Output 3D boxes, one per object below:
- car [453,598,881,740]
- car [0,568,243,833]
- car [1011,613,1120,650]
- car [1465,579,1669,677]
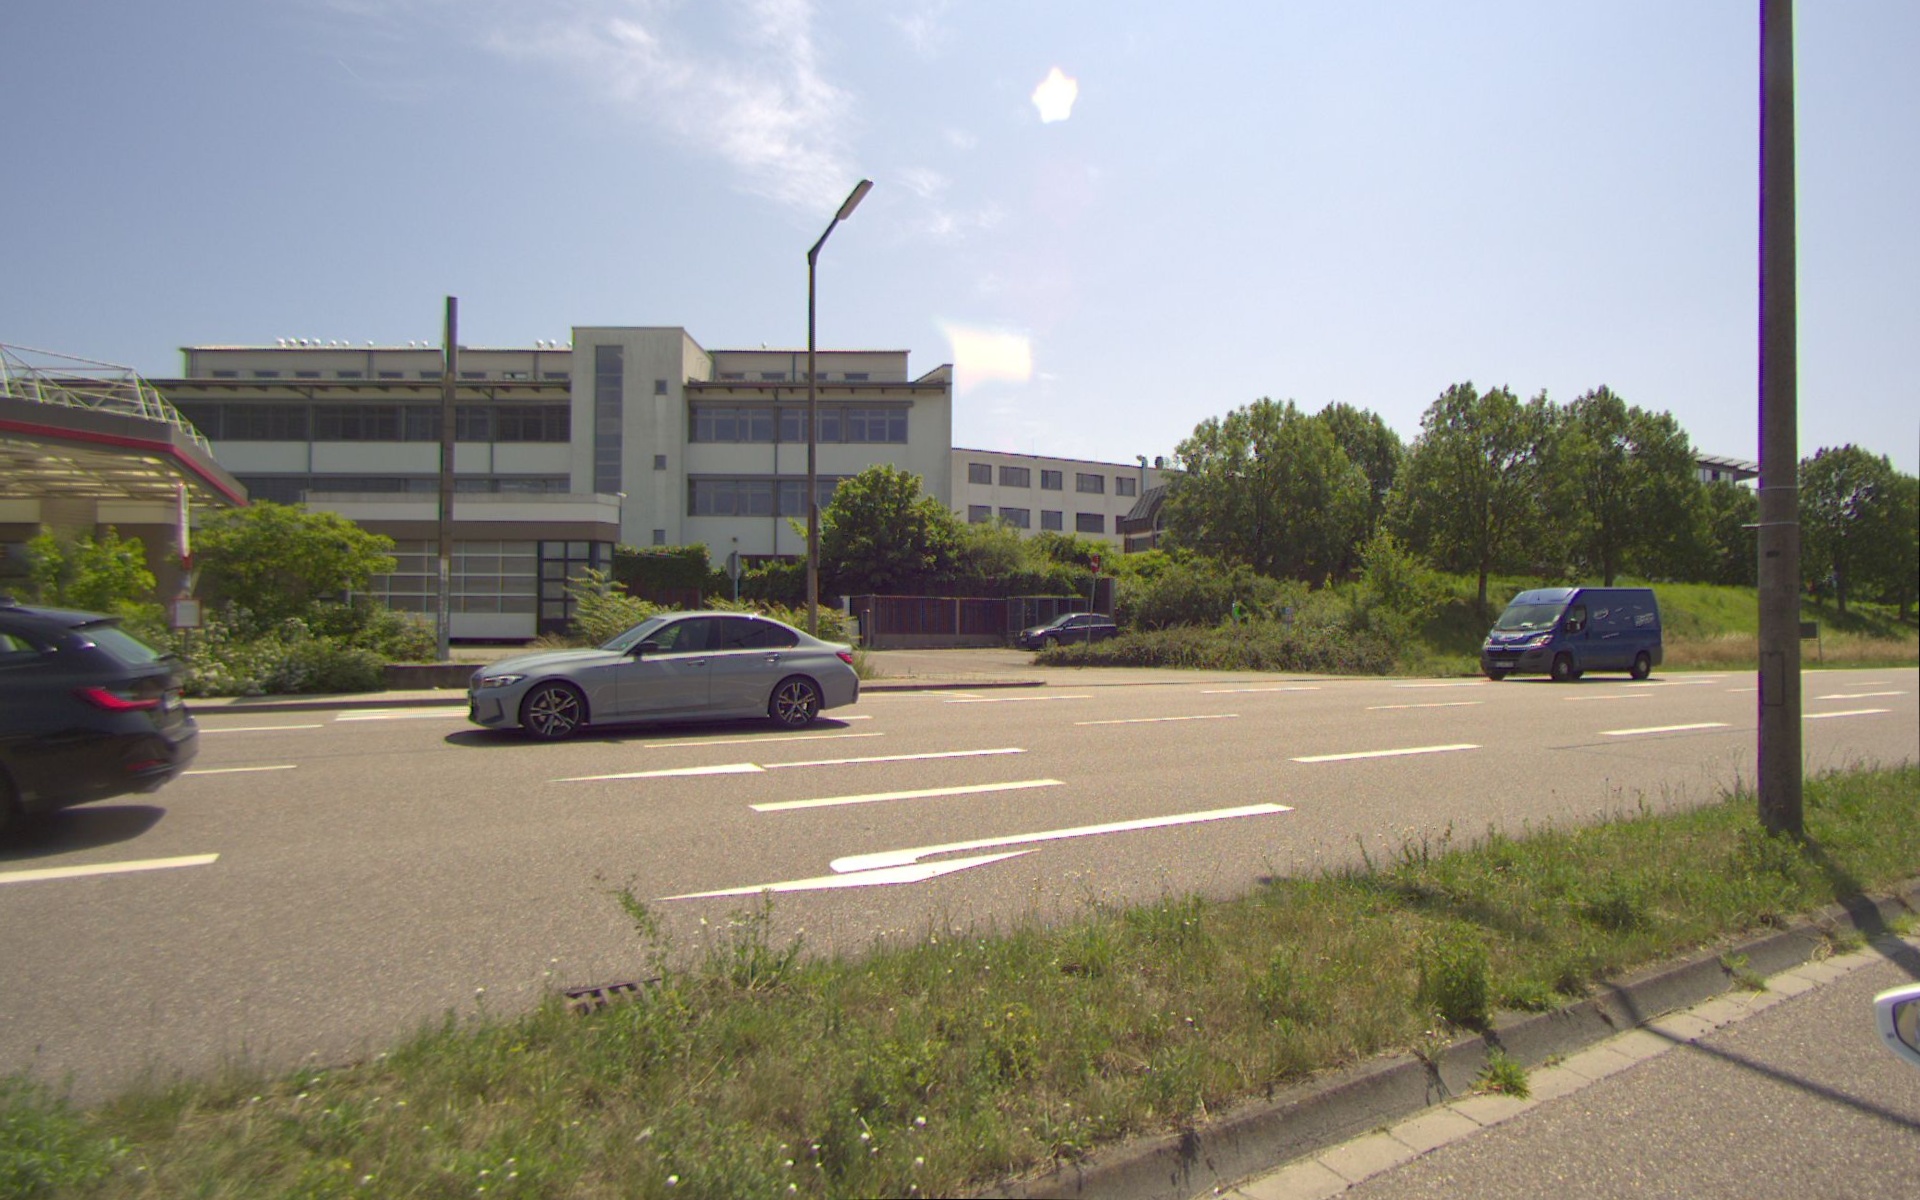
[{"bbox_3d":[-3.517,0.775,12.437,4.798,1.468,1.821,1,-2,-32],"label":"car"},{"bbox_3d":[-6.936,0.553,5.672,4.511,1.477,1.723,1,-2,-30],"label":"car"},{"bbox_3d":[4.222,1.265,40.155,3.941,1.428,1.874,1,-2,-21],"label":"car"},{"bbox_3d":[16.531,0.763,27.301,5.599,2.443,2.165,1,-1,-28],"label":"car"}]
